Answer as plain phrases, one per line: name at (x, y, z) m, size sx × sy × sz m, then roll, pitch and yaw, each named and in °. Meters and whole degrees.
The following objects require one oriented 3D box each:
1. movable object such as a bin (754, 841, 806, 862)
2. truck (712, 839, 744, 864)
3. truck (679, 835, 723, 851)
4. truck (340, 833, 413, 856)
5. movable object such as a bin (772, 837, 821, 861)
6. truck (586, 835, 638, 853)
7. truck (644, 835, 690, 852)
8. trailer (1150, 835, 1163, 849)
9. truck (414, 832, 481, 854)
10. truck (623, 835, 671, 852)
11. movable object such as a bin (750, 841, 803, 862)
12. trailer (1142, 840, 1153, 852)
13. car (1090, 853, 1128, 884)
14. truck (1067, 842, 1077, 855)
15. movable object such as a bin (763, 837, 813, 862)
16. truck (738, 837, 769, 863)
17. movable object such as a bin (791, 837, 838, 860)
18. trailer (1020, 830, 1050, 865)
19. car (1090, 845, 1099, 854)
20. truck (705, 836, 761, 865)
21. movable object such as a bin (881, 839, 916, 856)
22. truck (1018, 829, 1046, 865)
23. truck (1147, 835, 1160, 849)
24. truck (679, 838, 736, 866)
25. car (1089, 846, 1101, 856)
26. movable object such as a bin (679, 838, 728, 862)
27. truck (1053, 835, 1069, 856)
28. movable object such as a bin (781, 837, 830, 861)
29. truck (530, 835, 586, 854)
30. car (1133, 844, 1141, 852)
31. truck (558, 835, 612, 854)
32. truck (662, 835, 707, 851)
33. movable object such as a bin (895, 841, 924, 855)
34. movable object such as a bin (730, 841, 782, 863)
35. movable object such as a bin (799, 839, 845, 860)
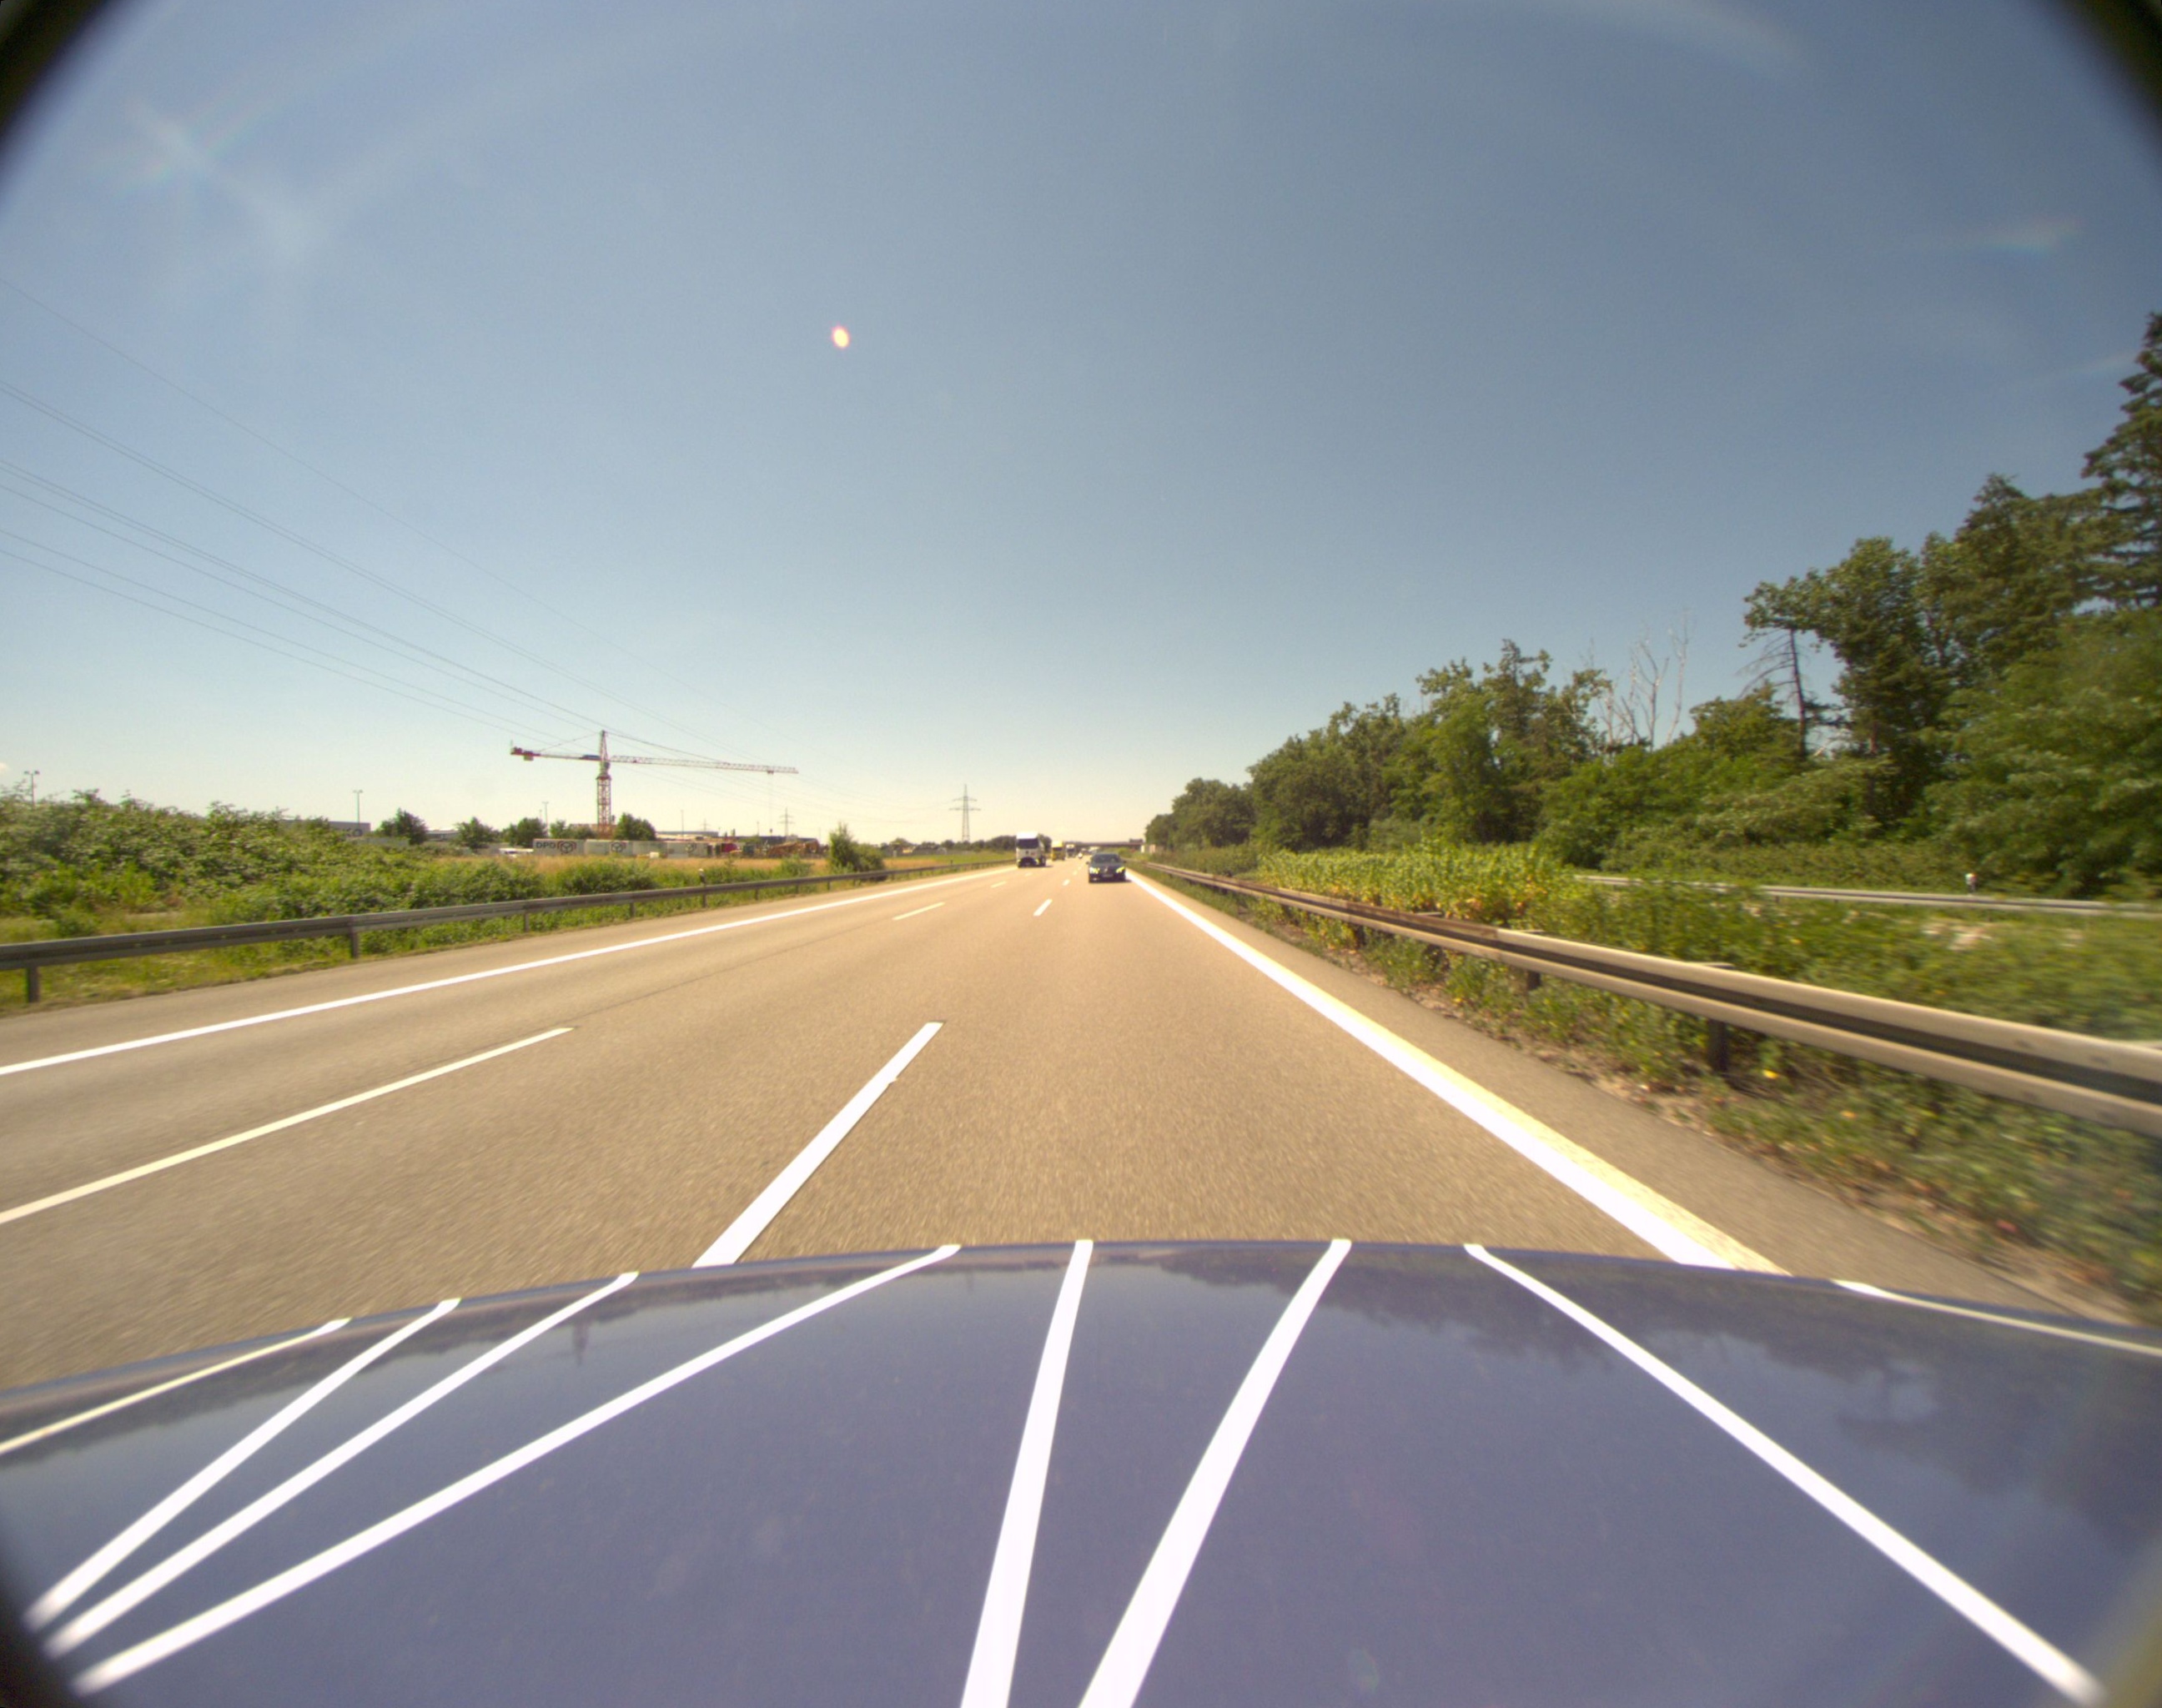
movable object such as a bin at (-54.575, -0.474, 137.927) m, size 8.113 × 3.443 × 2.881 m, roll -2°, pitch 1°, yaw 2°
truck at (-68.785, -0.511, 148.249) m, size 3.051 × 4.745 × 5.982 m, roll -2°, pitch 1°, yaw 2°
truck at (-84.730, -2.464, 169.611) m, size 8.175 × 3.392 × 2.834 m, roll 0°, pitch 1°, yaw -10°
truck at (-106.785, -1.485, 115.268) m, size 8.171 × 3.392 × 2.755 m, roll 0°, pitch 1°, yaw -5°
movable object such as a bin at (-54.239, -0.948, 144.852) m, size 8.113 × 4.272 × 2.881 m, roll -2°, pitch 1°, yaw 2°
truck at (-92.351, -1.940, 149.751) m, size 8.178 × 3.392 × 2.833 m, roll 0°, pitch 1°, yaw -15°
truck at (-87.896, -2.246, 161.338) m, size 8.178 × 3.392 × 2.833 m, roll 0°, pitch 1°, yaw -15°
trailer at (21.092, -3.427, 212.192) m, size 2.933 × 3.806 × 9.274 m, roll 0°, pitch 1°, yaw 1°
truck at (-102.607, -1.752, 123.114) m, size 8.171 × 3.392 × 2.755 m, roll 0°, pitch 1°, yaw -5°
truck at (-89.655, -2.130, 157.192) m, size 8.178 × 3.392 × 2.833 m, roll 0°, pitch 1°, yaw -15°
movable object such as a bin at (-53.910, -0.468, 134.529) m, size 8.113 × 3.443 × 2.881 m, roll -2°, pitch 1°, yaw 2°
trailer at (22.755, -2.732, 260.154) m, size 2.543 × 4.067 × 14.244 m, roll 1°, pitch 1°, yaw 0°
car at (1.371, 0.704, 38.485) m, size 1.808 × 1.385 × 3.999 m, roll -2°, pitch 1°, yaw 0°
truck at (-2.713, -1.809, 241.599) m, size 2.978 × 4.240 × 12.610 m, roll 0°, pitch 1°, yaw 0°
movable object such as a bin at (-54.456, -0.837, 141.372) m, size 8.113 × 4.272 × 2.881 m, roll -2°, pitch 1°, yaw 2°
truck at (-62.679, -0.744, 145.445) m, size 3.051 × 4.745 × 5.982 m, roll -2°, pitch 1°, yaw 2°
movable object such as a bin at (-53.772, -1.056, 153.644) m, size 8.113 × 4.272 × 3.299 m, roll -2°, pitch 1°, yaw 2°
trailer at (-5.438, -0.865, 92.566) m, size 2.573 × 3.871 × 13.278 m, roll -2°, pitch 1°, yaw 1°
car at (2.714, -0.931, 155.780) m, size 1.861 × 1.696 × 3.999 m, roll 0°, pitch 1°, yaw 0°
truck at (-62.895, -0.661, 138.019) m, size 3.051 × 4.745 × 14.323 m, roll -2°, pitch 1°, yaw 2°
movable object such as a bin at (-54.051, -1.977, 225.037) m, size 9.378 × 4.486 × 3.436 m, roll -2°, pitch 1°, yaw 2°
truck at (-5.525, -0.795, 85.946) m, size 2.573 × 3.871 × 5.722 m, roll -2°, pitch 1°, yaw 0°
truck at (21.205, -3.523, 221.475) m, size 2.933 × 3.806 × 9.274 m, roll 0°, pitch 1°, yaw 1°
truck at (-69.015, -0.429, 141.006) m, size 3.051 × 4.745 × 14.133 m, roll -2°, pitch 1°, yaw 2°
car at (2.340, -0.484, 125.464) m, size 1.861 × 1.696 × 3.999 m, roll 0°, pitch 1°, yaw 0°
movable object such as a bin at (-78.692, -0.810, 158.424) m, size 8.826 × 4.623 × 3.295 m, roll -2°, pitch 1°, yaw 11°
truck at (-4.096, -1.781, 157.842) m, size 2.978 × 4.240 × 12.610 m, roll 0°, pitch 1°, yaw 0°
movable object such as a bin at (-54.058, -1.000, 149.320) m, size 8.113 × 4.272 × 3.351 m, roll -2°, pitch 1°, yaw 2°
truck at (-96.551, -1.668, 140.453) m, size 8.178 × 3.392 × 2.524 m, roll 0°, pitch 1°, yaw -15°
car at (18.803, -2.013, 254.187) m, size 2.130 × 2.452 × 5.086 m, roll 2°, pitch 0°, yaw 0°
truck at (-94.570, -1.799, 145.107) m, size 8.178 × 3.392 × 2.632 m, roll 0°, pitch 1°, yaw -15°
truck at (-86.276, -2.358, 165.598) m, size 8.172 × 3.392 × 2.835 m, roll 0°, pitch 1°, yaw -7°
movable object such as a bin at (-52.722, -1.792, 233.677) m, size 8.113 × 3.883 × 2.881 m, roll -2°, pitch 1°, yaw 2°
movable object such as a bin at (-55.691, -0.351, 130.372) m, size 7.583 × 3.443 × 2.881 m, roll -2°, pitch 1°, yaw 2°
movable object such as a bin at (-53.666, -0.896, 157.505) m, size 8.113 × 3.928 × 3.137 m, roll -2°, pitch 1°, yaw 2°
